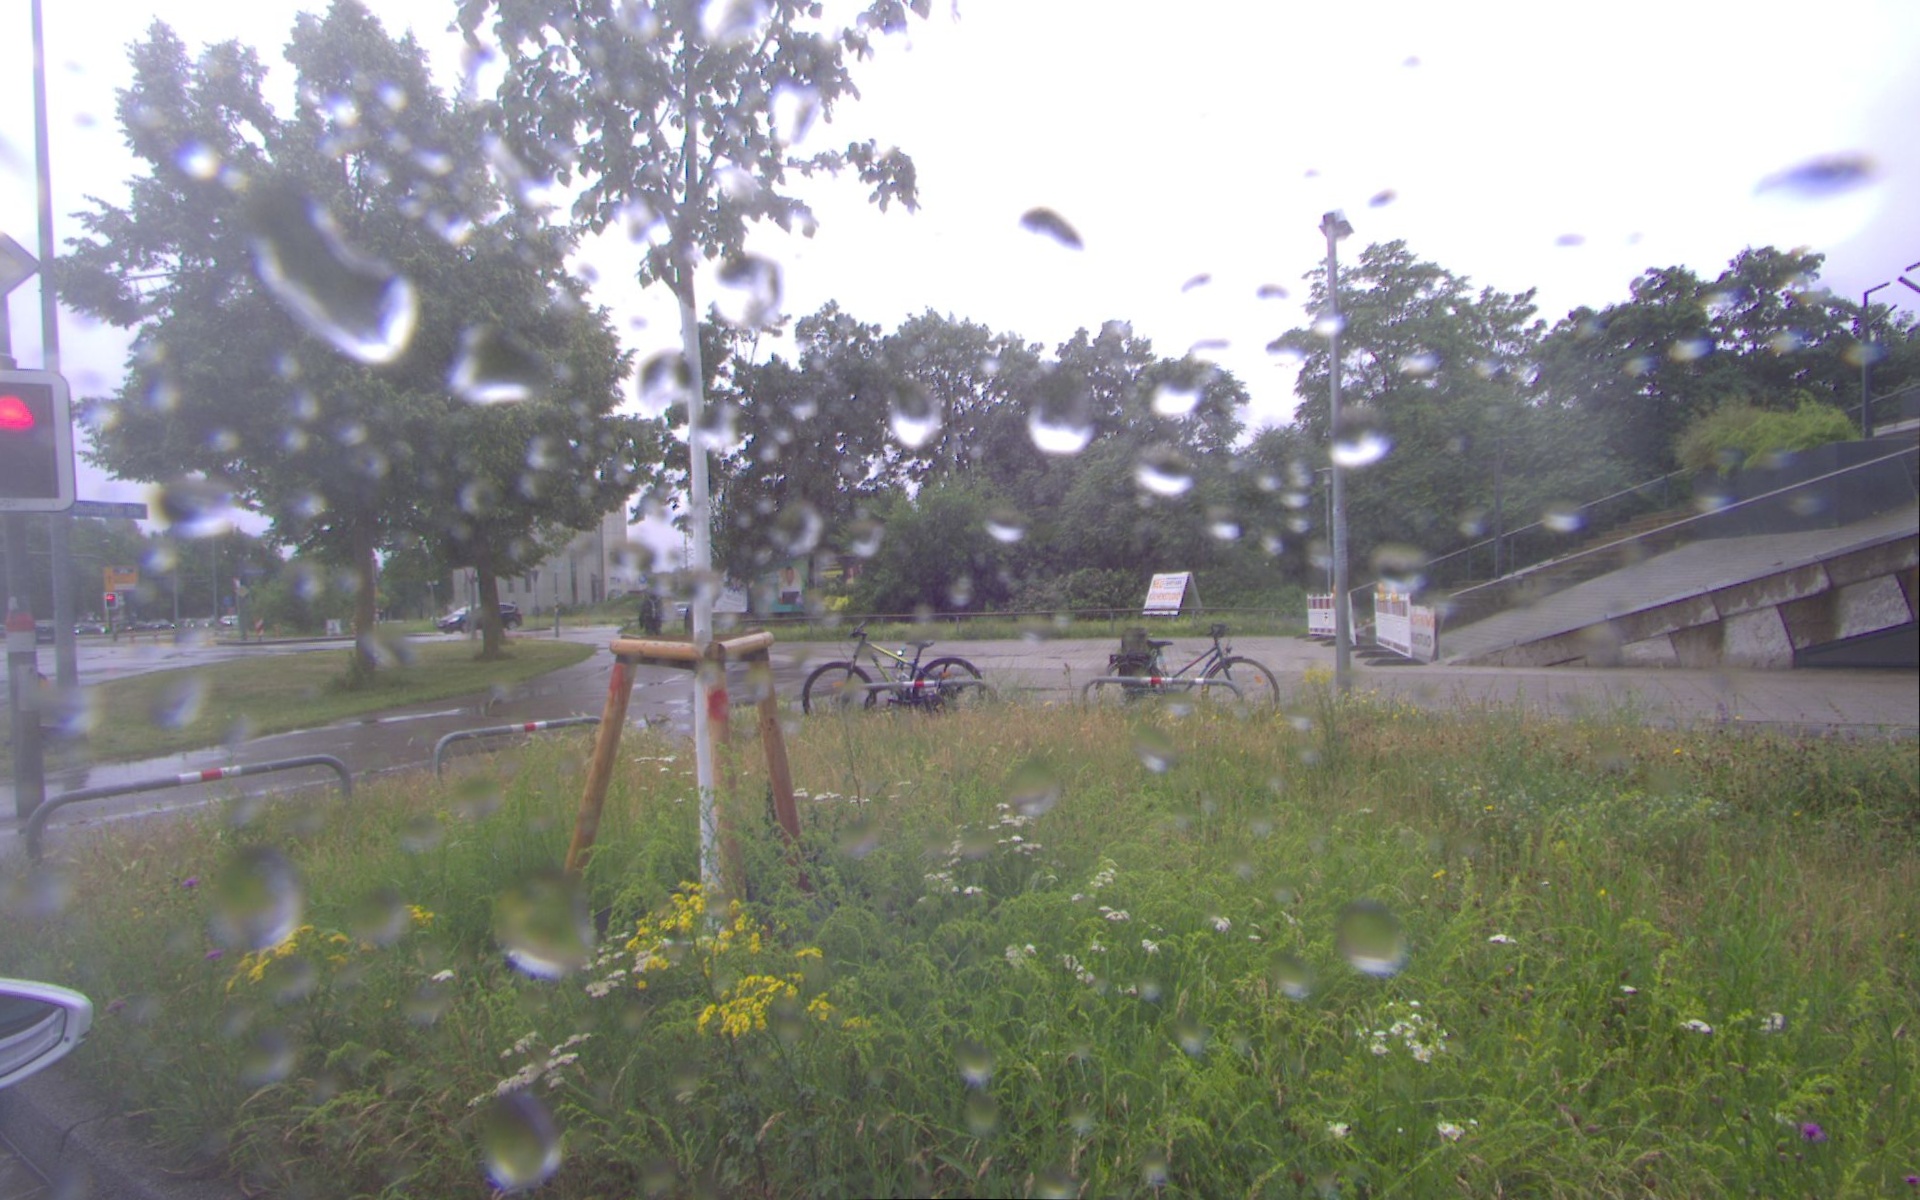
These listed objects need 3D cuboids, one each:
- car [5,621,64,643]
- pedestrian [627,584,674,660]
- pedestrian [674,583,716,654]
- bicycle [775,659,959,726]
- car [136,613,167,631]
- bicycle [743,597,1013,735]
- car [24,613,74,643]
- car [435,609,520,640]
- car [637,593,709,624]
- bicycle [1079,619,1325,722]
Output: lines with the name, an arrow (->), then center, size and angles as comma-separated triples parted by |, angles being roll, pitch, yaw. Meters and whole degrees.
car -> -78.913, 2.737, 85.458 | 1.964, 1.772, 3.996 | 0, -2, -14
pedestrian -> -7.513, 0.545, 24.321 | 0.906, 1.807, 0.808 | 0, -1, -3
pedestrian -> -6.778, 0.480, 25.648 | 0.906, 1.807, 0.808 | 0, -1, -3
bicycle -> -0.902, 0.895, 9.834 | 1.771, 0.566, 0.320 | -1, 1, -17
car -> -95.172, 2.569, 117.884 | 1.763, 2.039, 3.665 | 0, -2, -20
bicycle -> -0.763, 0.586, 9.481 | 2.480, 1.205, 0.552 | -1, 1, -17
car -> -47.755, 1.449, 52.482 | 3.216, 1.512, 1.679 | 0, 1, 43
car -> -26.970, 1.379, 56.119 | 1.764, 1.668, 3.980 | -1, -2, 33
car -> -19.718, 0.572, 69.035 | 1.763, 1.836, 4.809 | 0, 3, 32
bicycle -> 2.219, 0.615, 9.268 | 2.129, 0.858, 0.634 | -1, 0, 27
